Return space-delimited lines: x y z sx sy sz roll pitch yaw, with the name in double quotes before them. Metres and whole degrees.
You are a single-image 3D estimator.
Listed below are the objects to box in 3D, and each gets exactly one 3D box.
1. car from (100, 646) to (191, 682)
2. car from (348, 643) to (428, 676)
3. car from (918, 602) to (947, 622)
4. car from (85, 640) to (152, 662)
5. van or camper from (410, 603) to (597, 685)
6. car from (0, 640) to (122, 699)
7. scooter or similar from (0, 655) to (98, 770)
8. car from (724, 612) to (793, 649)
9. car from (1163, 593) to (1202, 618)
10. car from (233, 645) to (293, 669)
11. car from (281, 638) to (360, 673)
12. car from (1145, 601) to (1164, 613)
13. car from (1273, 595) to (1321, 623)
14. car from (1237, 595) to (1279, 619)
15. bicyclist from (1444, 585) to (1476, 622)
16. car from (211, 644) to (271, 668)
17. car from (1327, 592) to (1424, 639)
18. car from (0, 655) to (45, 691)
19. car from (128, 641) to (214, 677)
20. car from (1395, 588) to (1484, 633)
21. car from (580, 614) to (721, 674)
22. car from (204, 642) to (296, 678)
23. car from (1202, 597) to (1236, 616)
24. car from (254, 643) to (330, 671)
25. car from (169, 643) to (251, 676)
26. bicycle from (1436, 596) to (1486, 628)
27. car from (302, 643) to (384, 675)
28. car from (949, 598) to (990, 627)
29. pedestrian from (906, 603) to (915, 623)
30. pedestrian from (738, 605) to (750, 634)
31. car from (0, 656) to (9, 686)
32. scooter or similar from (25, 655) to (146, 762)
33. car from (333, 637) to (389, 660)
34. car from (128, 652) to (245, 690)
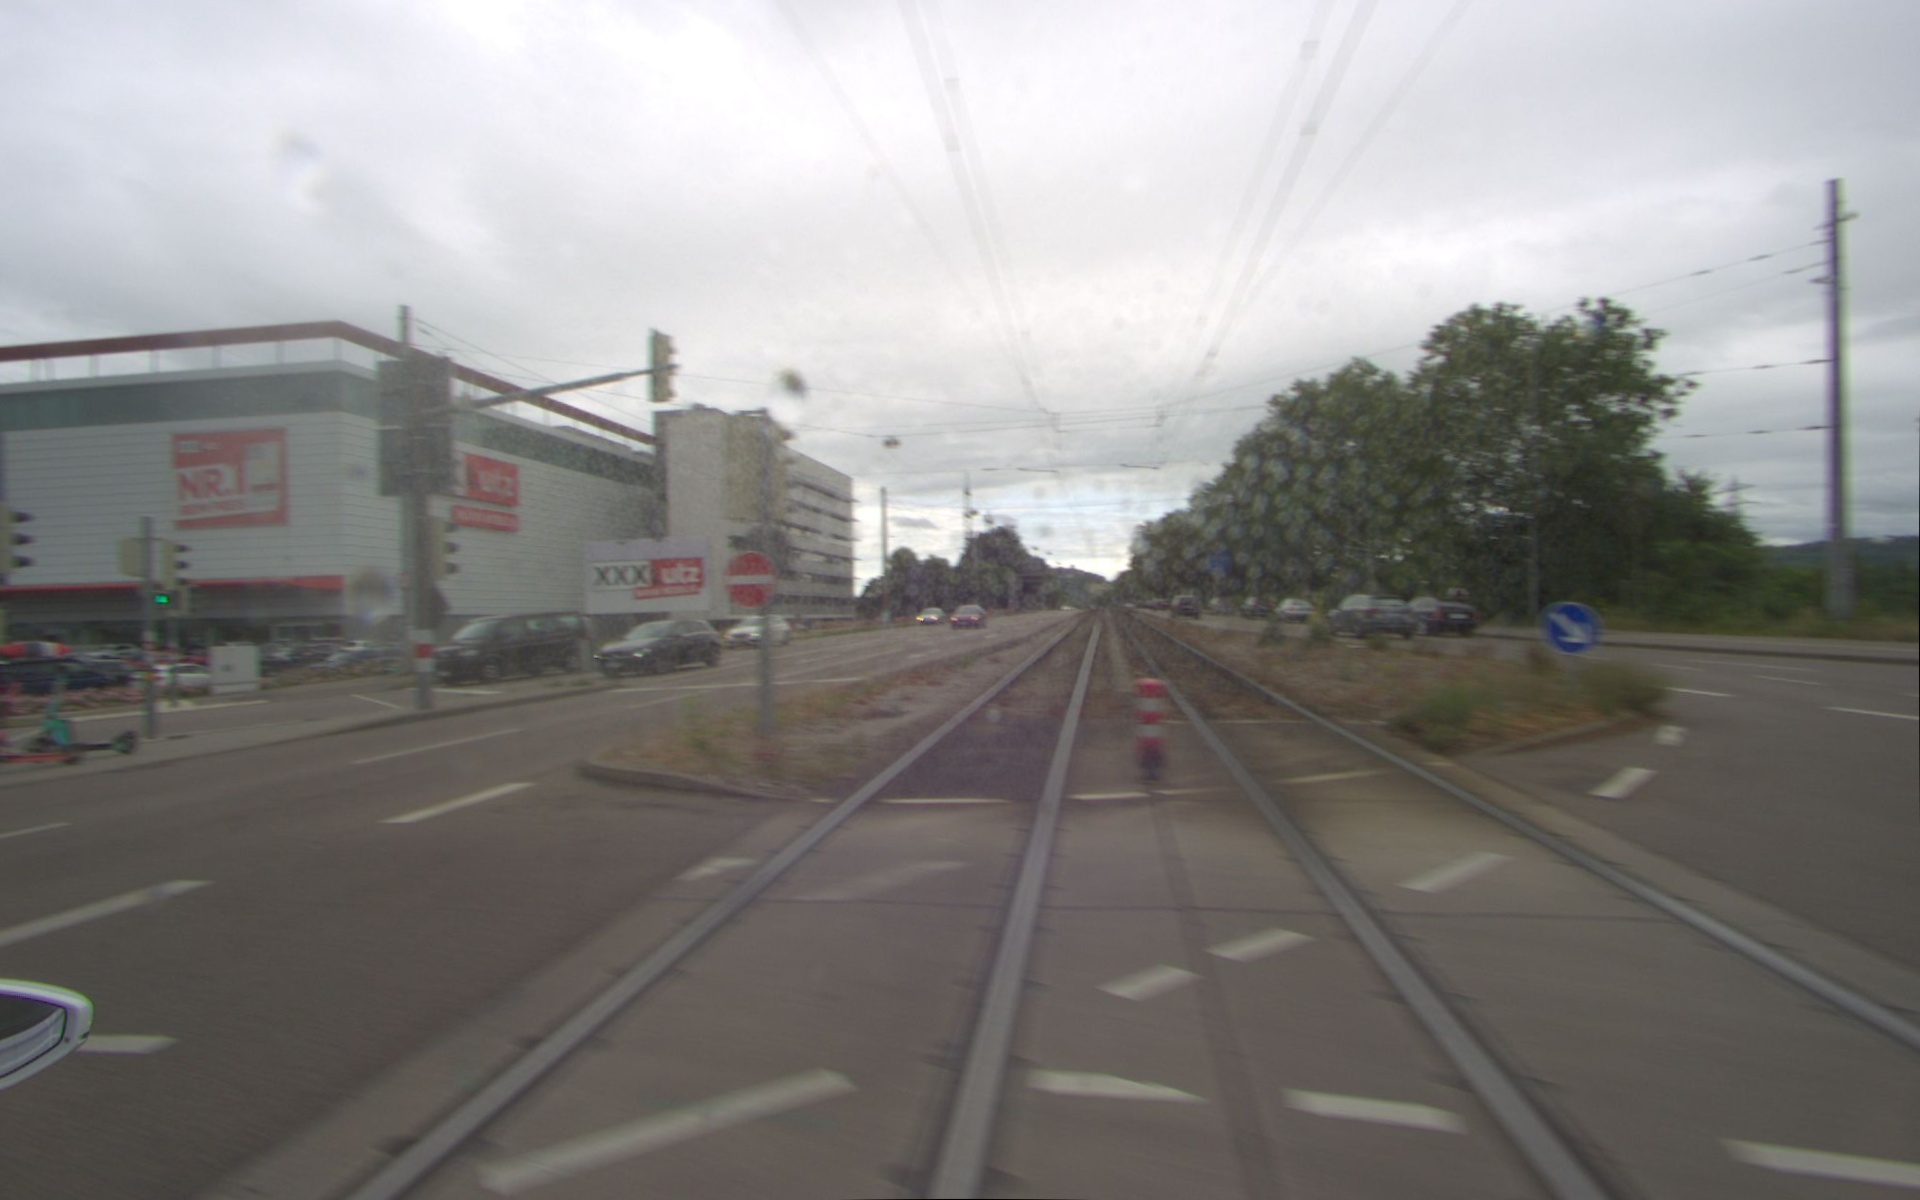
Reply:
"car" -48.779 3.813 60.055 1.798 1.886 3.997 -2 0 11
"car" -32.171 3.336 56.470 1.850 1.687 4.000 -1 -1 7
"car" -2.328 1.059 85.497 1.714 1.623 4.074 0 -1 10
"car" -66.782 4.030 79.544 1.795 1.574 3.804 0 -1 10
"van or camper" -13.480 1.251 29.905 2.091 2.040 4.734 -4 0 26
"car" -39.433 2.957 42.913 2.083 2.193 5.046 -2 0 15
"scooter or similar" -11.161 1.340 12.070 0.457 1.272 1.015 -4 0 23
"car" -9.043 1.344 45.261 1.700 1.559 4.044 0 0 10
"car" 15.279 0.379 68.897 1.802 1.658 4.317 -1 0 1
"car" -53.030 4.344 76.265 1.620 1.581 3.613 -1 0 11
"car" -40.727 3.502 63.894 1.914 1.954 3.997 -2 0 12
"car" 23.574 0.832 121.556 1.718 1.450 3.374 1 0 2
"car" 19.720 0.504 58.737 1.700 1.529 3.632 0 0 2
"car" 20.868 0.511 70.241 1.826 1.582 4.317 1 0 3
"bicyclist" 20.608 0.128 41.301 0.803 1.499 1.000 -2 2 0
"car" -55.500 4.322 77.374 1.620 1.581 3.613 -1 0 11
"car" 13.468 0.478 32.700 1.709 1.420 4.076 0 0 4
"car" -48.116 3.685 49.406 1.850 1.692 3.997 -2 0 12
"car" -50.865 3.805 64.673 1.962 2.040 3.997 -2 0 11
"car" 17.463 0.422 36.674 1.707 1.497 4.320 0 -2 8
"car" -8.587 1.189 28.204 1.804 1.483 4.202 -2 -1 15
"car" -41.584 3.494 58.786 1.830 1.804 4.219 -1 0 12
"car" 22.769 0.619 88.199 1.826 1.582 4.317 1 0 1
"car" -43.117 3.641 64.748 1.745 1.552 3.996 -1 0 12
"car" -48.426 3.844 64.752 1.787 1.842 3.996 -2 0 12
"bicycle" 20.657 0.471 41.356 0.803 1.201 2.521 -2 1 0
"car" -34.860 3.289 56.670 1.798 1.536 3.999 -2 -1 7
"car" 0.647 0.759 63.186 1.962 1.751 3.998 -2 0 9
"pedestrian" -4.247 1.142 86.306 0.537 1.675 0.612 0 0 32
"pedestrian" -13.429 1.203 62.348 0.536 1.805 0.634 0 0 9
"car" -50.635 3.658 50.187 1.820 1.575 3.999 -2 -2 11
"scooter or similar" -11.443 1.395 13.130 0.315 1.272 1.112 -3 0 23
"car" -45.117 3.637 75.493 1.620 1.581 3.613 -1 0 11
"car" -36.262 3.307 47.062 1.713 1.495 4.208 -2 -1 12
